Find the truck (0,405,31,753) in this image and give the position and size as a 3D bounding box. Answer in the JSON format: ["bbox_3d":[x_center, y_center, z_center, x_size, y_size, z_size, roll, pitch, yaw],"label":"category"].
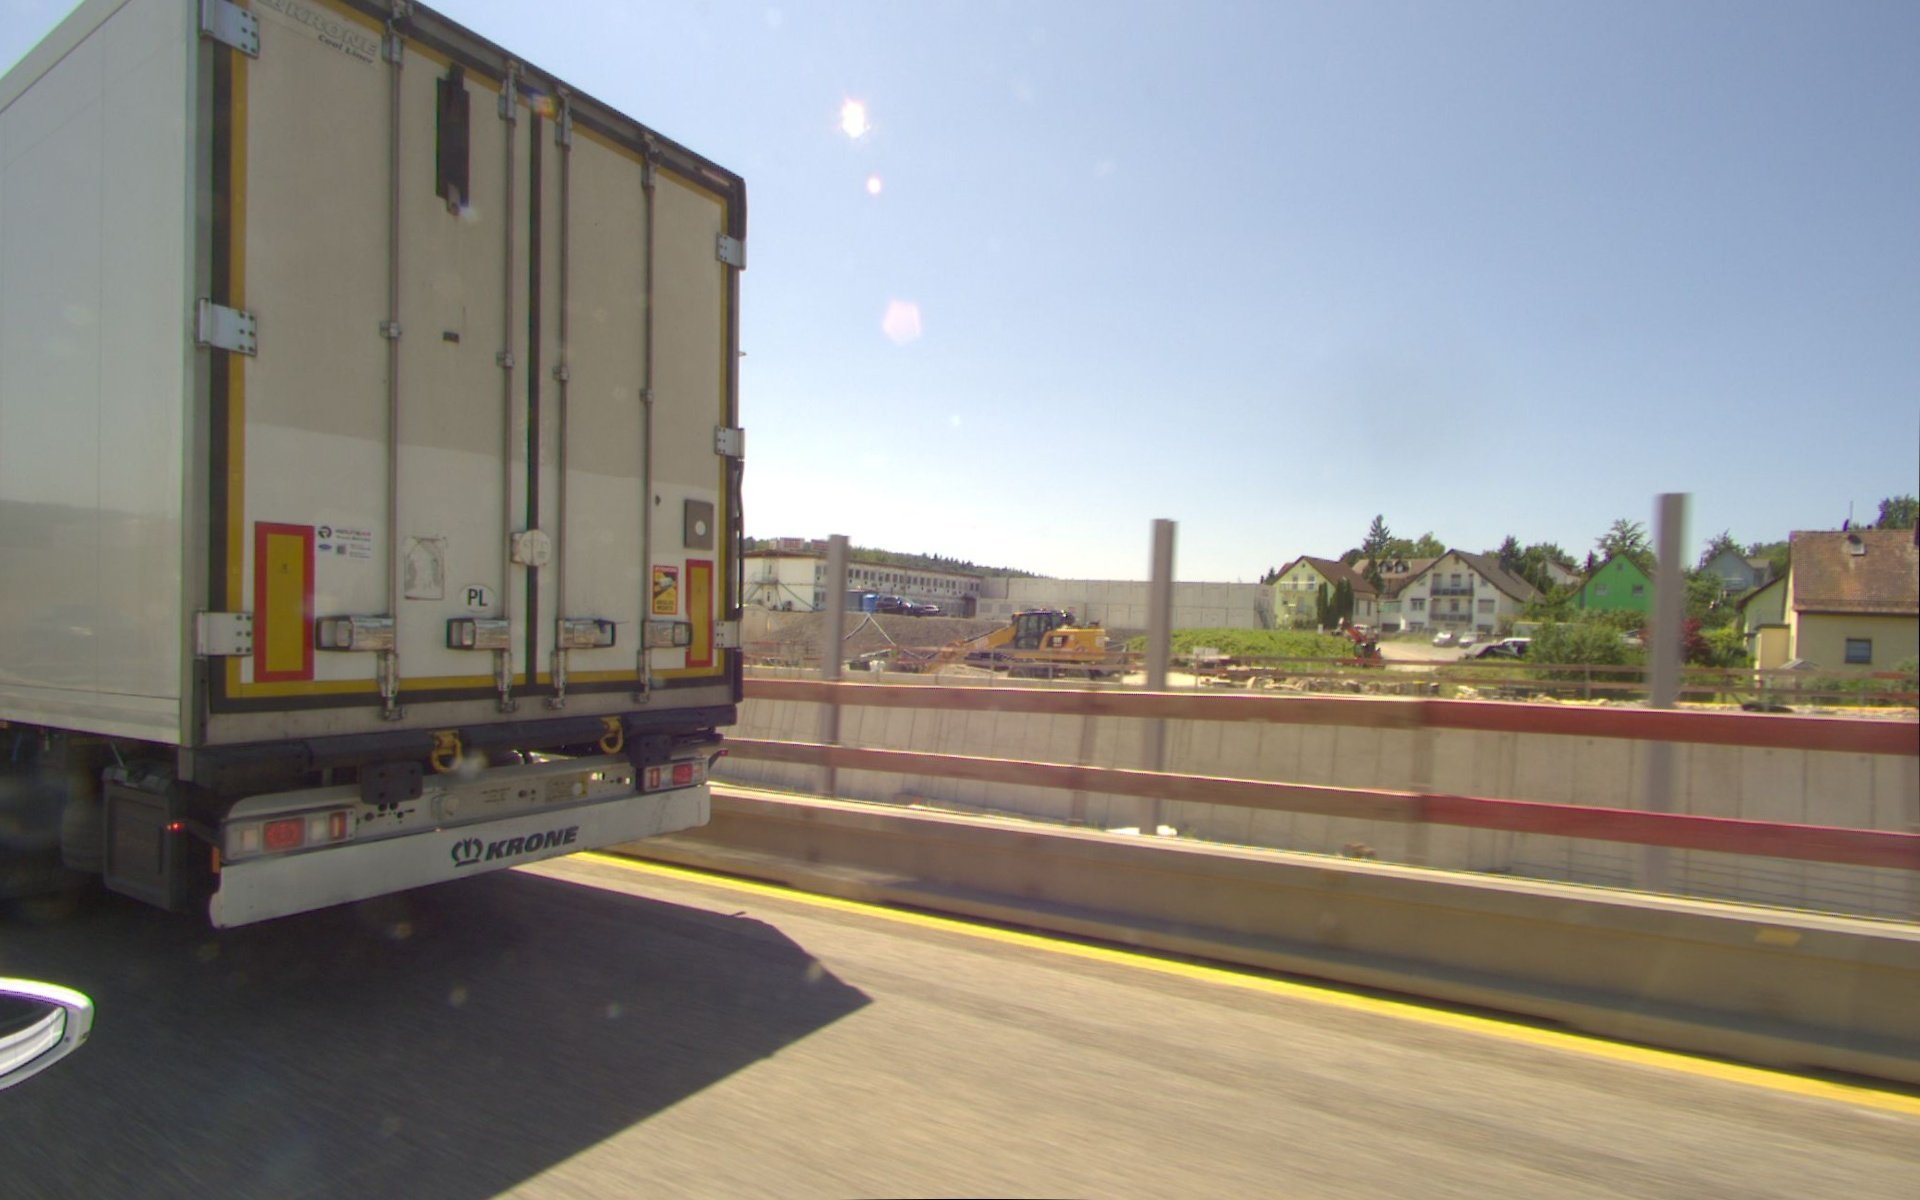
[{"bbox_3d":[-13.969,-0.245,12.205,4.835,4.110,2.771,-1,-1,33],"label":"truck"}]

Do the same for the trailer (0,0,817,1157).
[{"bbox_3d":[-7.329,-0.321,7.879,13.918,4.110,2.796,-1,-1,33],"label":"trailer"}]

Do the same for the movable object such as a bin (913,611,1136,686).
[{"bbox_3d":[2.624,1.981,42.862,9.345,2.946,2.882,-1,-2,33],"label":"movable object such as a bin"}]
